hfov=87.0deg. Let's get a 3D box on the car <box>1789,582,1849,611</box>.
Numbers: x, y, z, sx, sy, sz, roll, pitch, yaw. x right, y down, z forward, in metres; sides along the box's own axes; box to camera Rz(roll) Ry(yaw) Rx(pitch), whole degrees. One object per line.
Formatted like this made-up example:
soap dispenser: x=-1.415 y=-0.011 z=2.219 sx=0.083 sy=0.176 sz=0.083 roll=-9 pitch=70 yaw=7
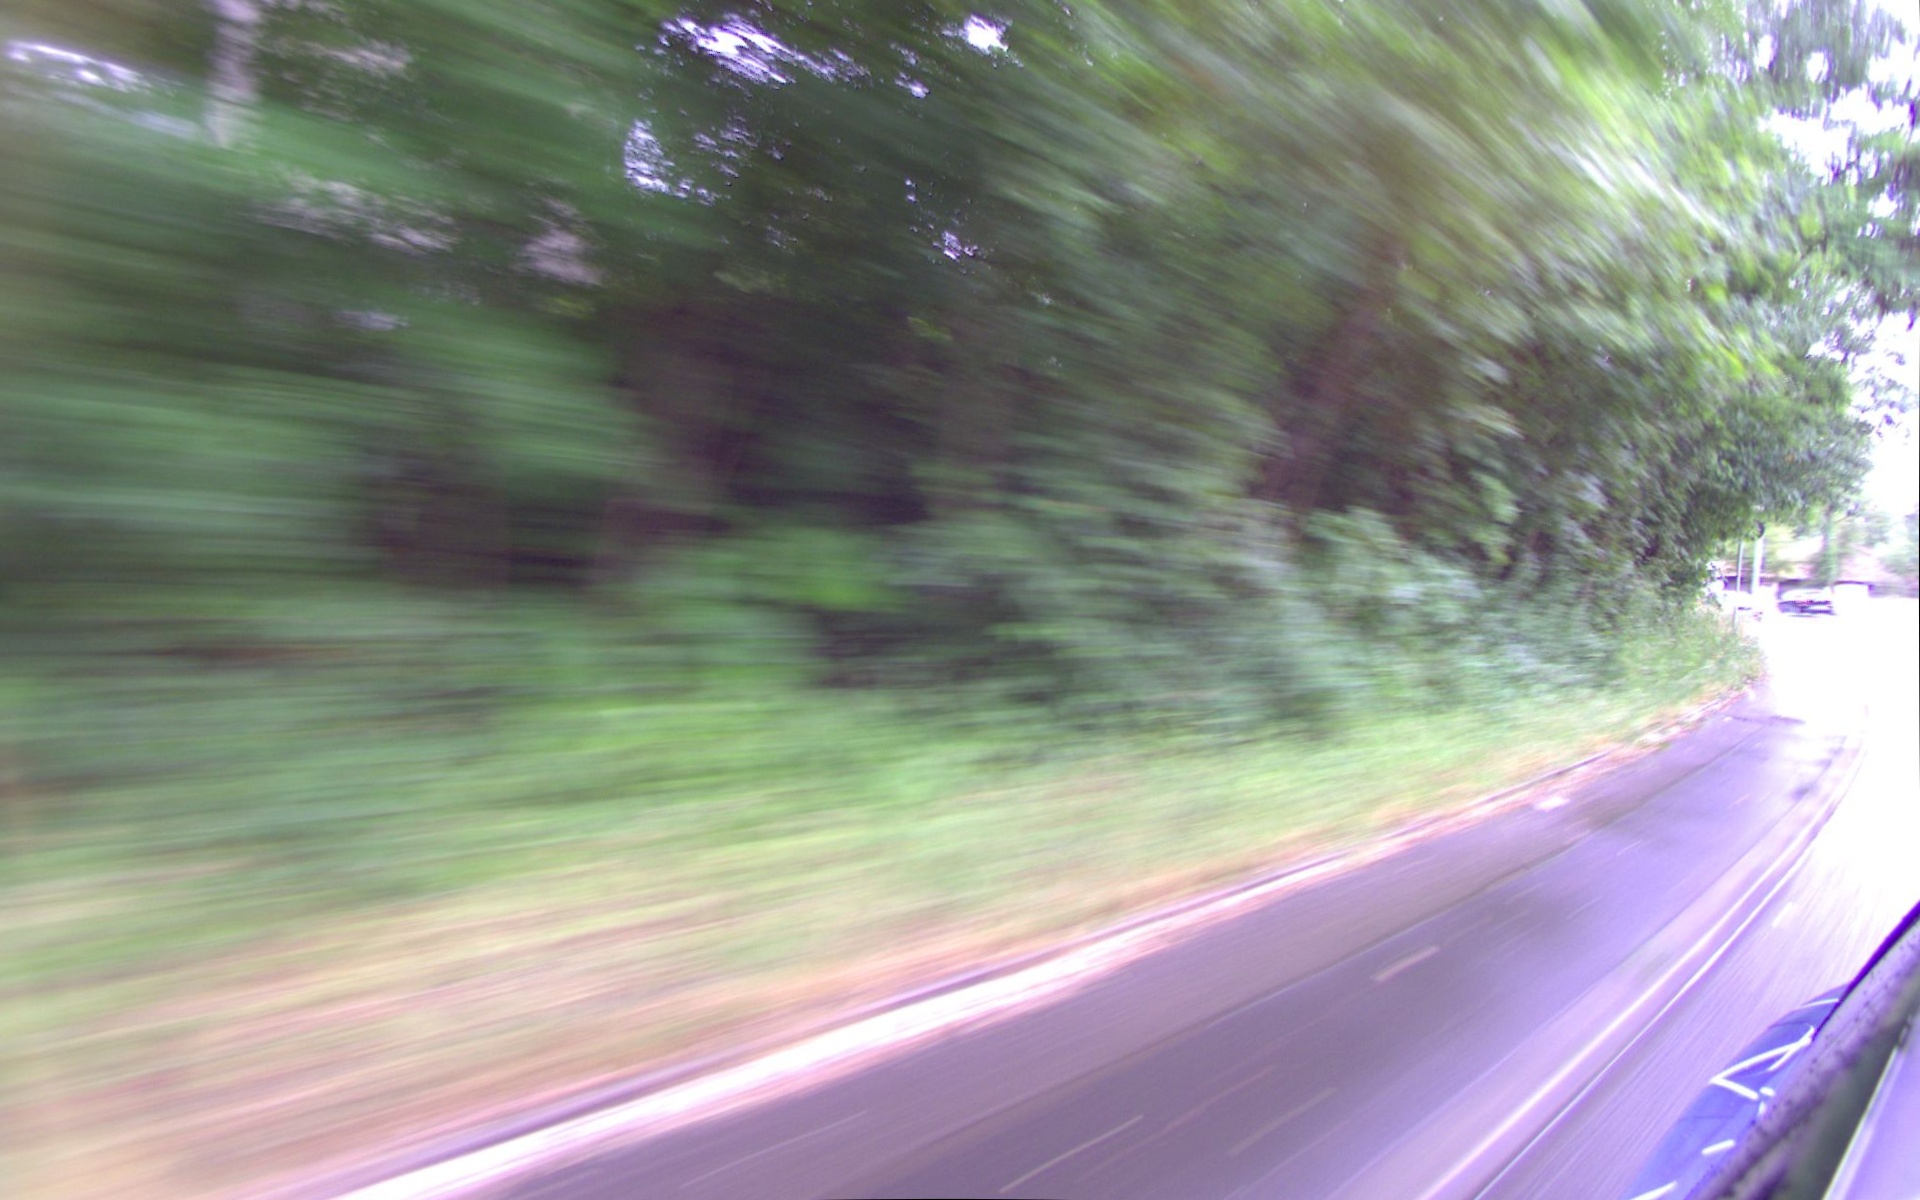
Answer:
car: x=46.564 y=-0.208 z=54.921 sx=1.584 sy=1.496 sz=3.758 roll=0 pitch=1 yaw=26
